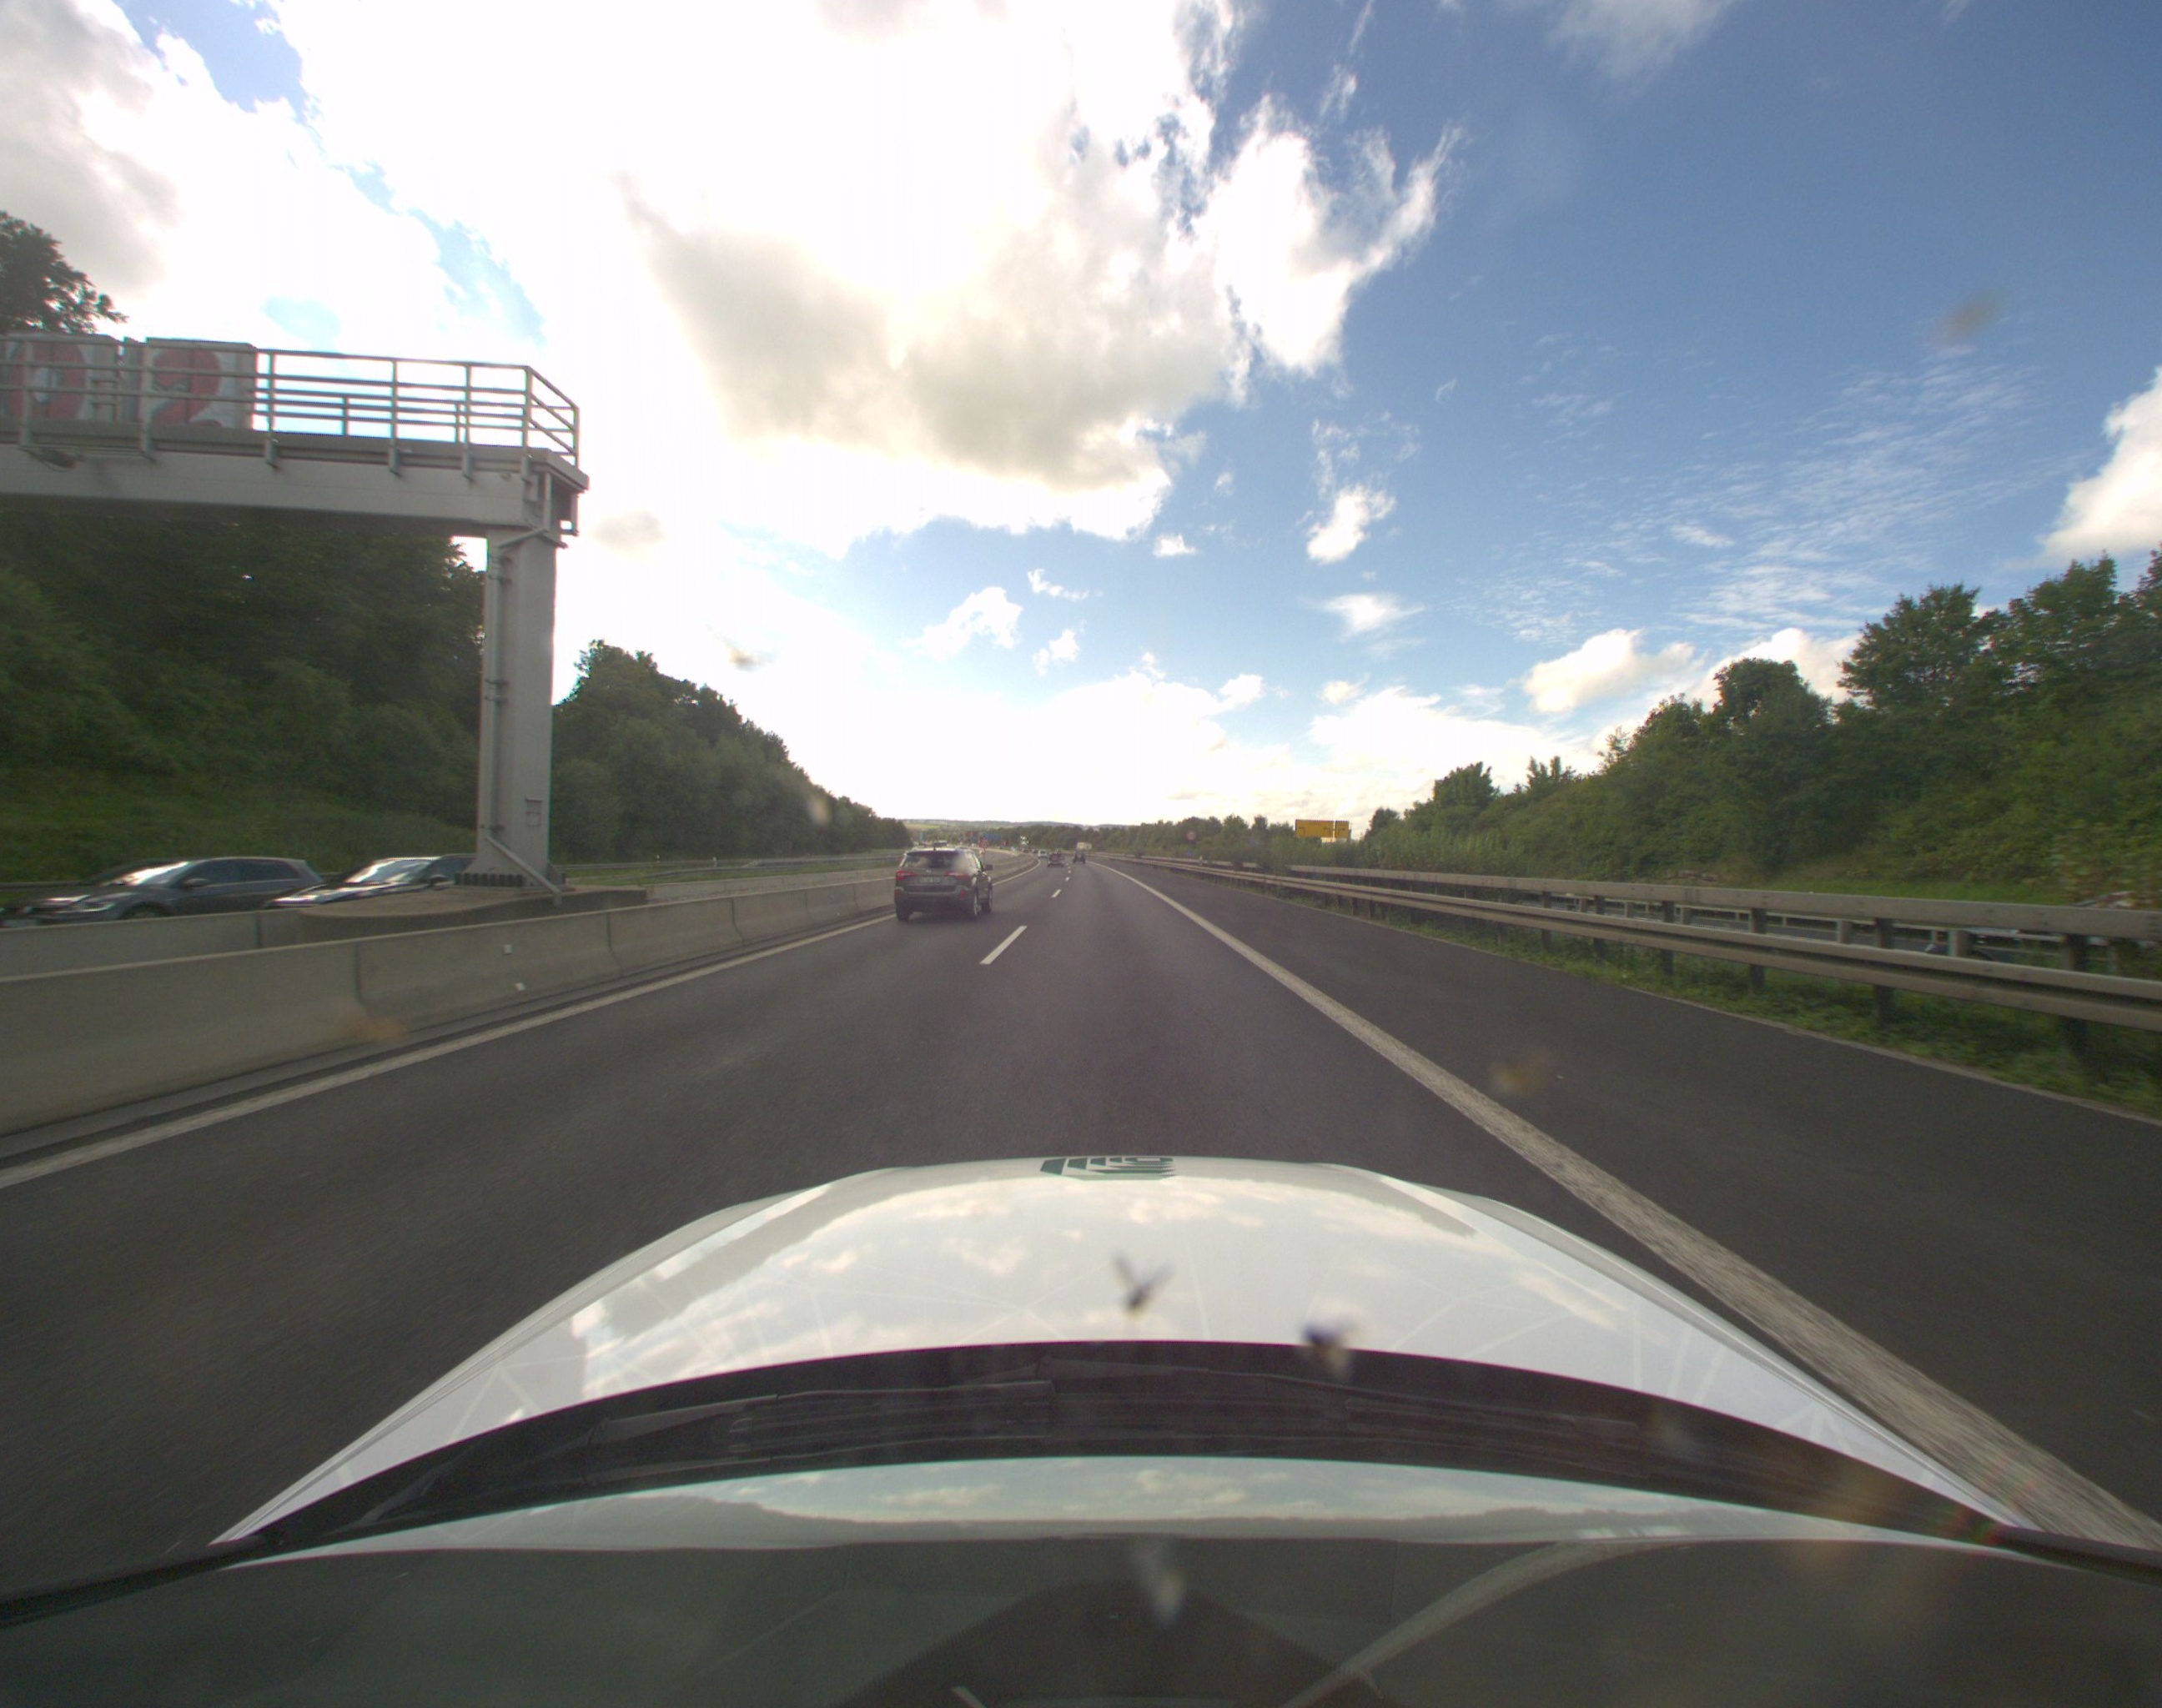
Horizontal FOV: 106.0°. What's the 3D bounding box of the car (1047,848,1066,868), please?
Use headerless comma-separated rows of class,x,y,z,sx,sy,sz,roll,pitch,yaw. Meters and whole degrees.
car,-2.670,0.426,89.709,2.024,2.151,4.000,0,1,0

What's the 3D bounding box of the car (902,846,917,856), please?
car,-33.837,-0.592,160.755,1.988,2.013,3.998,0,0,-1

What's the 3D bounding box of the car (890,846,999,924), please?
car,-3.308,0.702,20.761,1.811,1.736,5.187,0,0,1

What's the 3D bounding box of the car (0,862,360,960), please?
car,-15.632,0.866,14.334,1.659,1.395,4.603,0,0,2

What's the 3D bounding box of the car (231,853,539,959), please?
car,-12.088,0.804,14.579,1.986,1.641,4.002,0,0,2

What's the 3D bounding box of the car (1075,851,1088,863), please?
car,0.061,0.388,109.553,1.583,1.597,4.091,0,0,-3

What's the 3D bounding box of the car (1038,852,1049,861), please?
car,-7.982,0.518,172.364,1.991,1.684,3.990,0,-1,-7

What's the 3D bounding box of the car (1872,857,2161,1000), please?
car,12.501,0.812,9.590,1.779,1.519,4.672,0,0,-2

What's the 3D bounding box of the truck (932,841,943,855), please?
truck,-40.318,-1.579,228.754,2.810,3.826,7.104,0,0,-10
